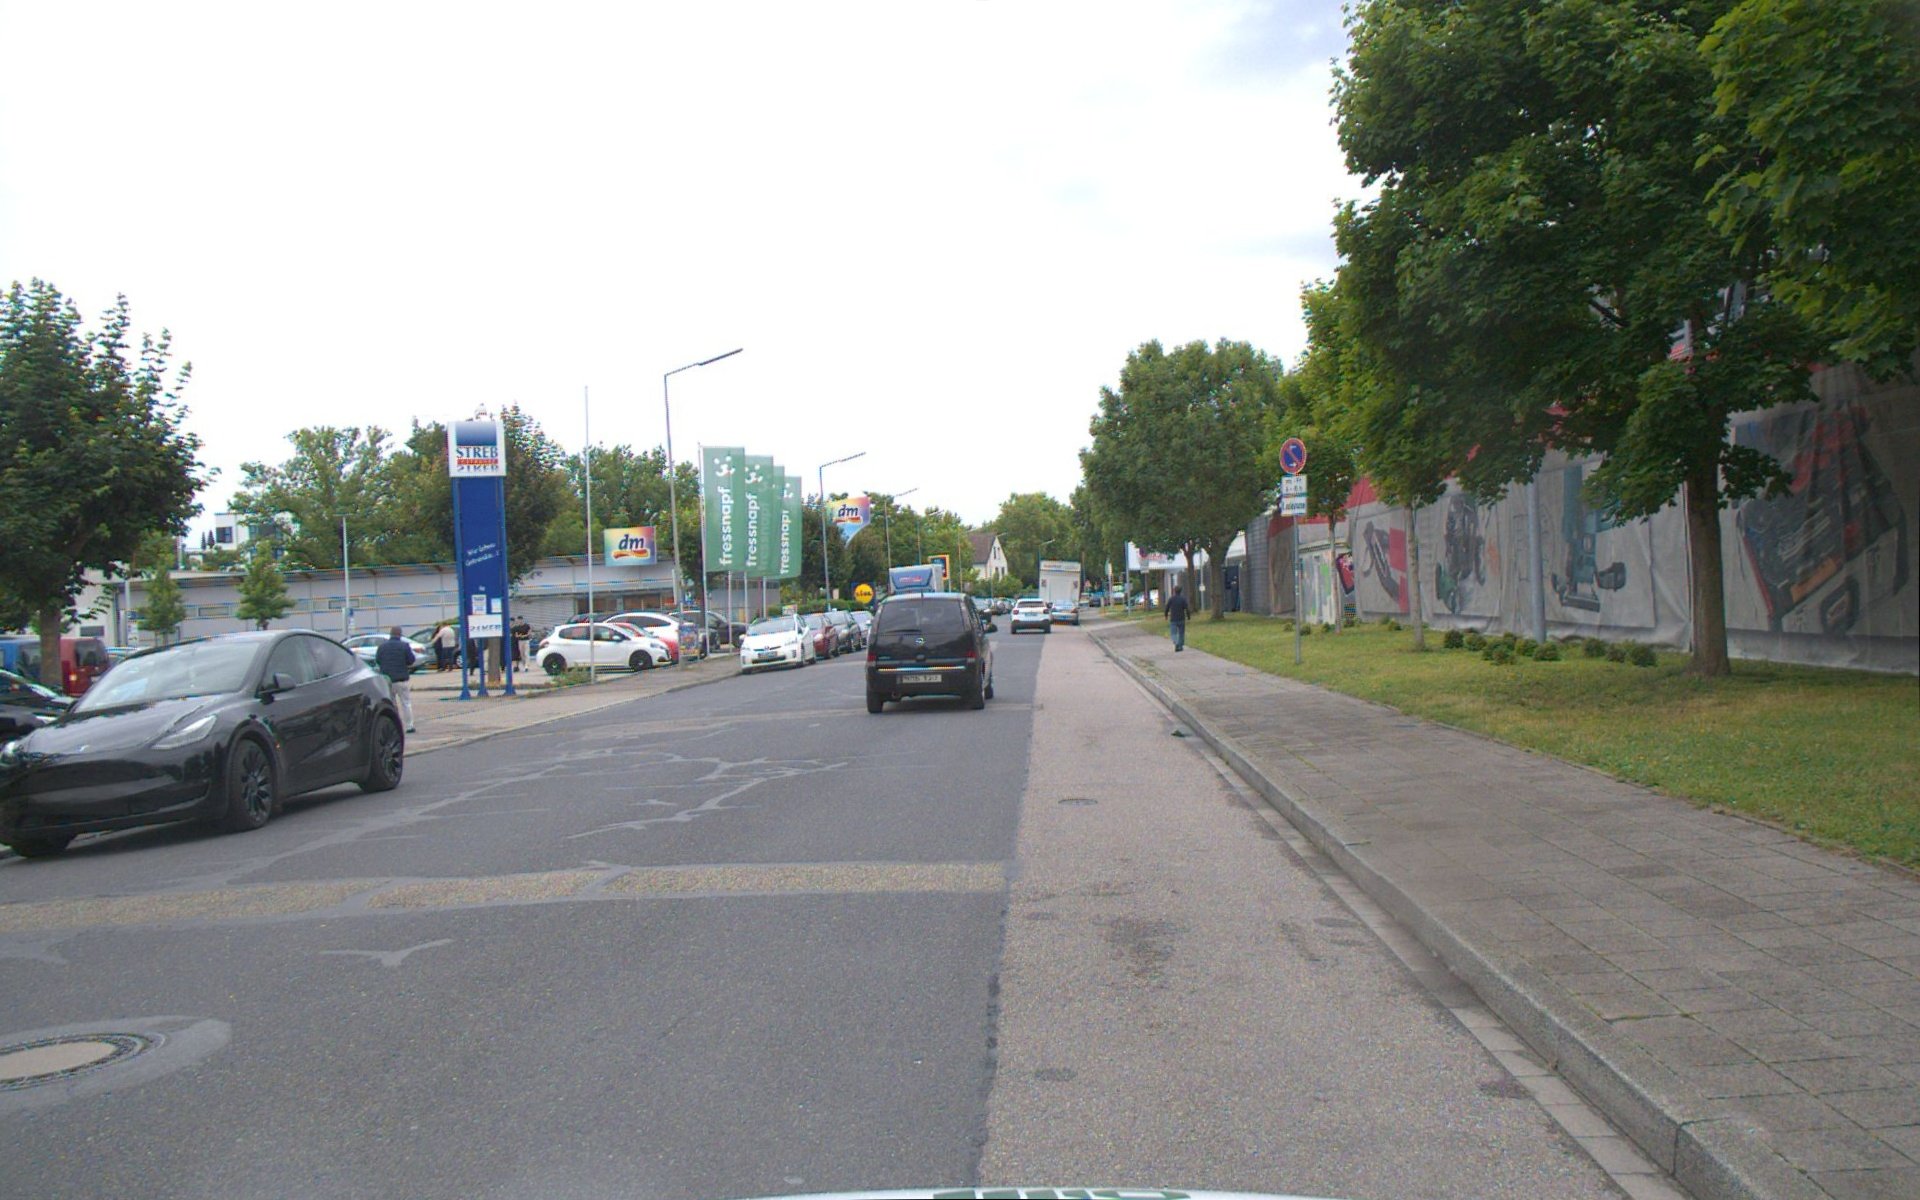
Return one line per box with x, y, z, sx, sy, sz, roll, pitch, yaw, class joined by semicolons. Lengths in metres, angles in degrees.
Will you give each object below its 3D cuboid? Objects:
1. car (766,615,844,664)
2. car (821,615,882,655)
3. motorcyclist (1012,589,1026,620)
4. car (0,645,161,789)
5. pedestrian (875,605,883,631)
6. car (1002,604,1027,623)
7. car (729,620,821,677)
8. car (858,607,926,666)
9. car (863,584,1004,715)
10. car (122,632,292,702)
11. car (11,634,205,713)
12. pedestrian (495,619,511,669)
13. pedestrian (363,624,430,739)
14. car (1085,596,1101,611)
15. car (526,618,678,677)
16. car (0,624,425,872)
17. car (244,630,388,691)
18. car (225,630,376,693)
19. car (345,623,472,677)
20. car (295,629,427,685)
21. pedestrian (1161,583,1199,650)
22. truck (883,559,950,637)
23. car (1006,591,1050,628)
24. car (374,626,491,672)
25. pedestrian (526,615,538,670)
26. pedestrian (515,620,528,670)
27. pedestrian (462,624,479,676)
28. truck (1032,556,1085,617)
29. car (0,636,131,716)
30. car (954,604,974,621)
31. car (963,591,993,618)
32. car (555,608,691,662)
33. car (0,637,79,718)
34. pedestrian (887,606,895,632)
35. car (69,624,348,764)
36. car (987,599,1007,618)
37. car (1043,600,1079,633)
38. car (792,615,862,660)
-4.964;1.253;53.372;1.858;1.391;4.002;-3;0;3;car
-4.226;1.358;64.891;1.858;1.391;4.002;-3;0;3;car
3.094;0.209;86.449;0.612;1.581;0.604;-3;0;5;motorcyclist
-12.474;1.478;20.892;3.792;1.649;1.928;-2;0;3;car
-5.039;1.129;103.015;0.393;1.558;0.485;-3;0;-3;pedestrian
4.446;1.107;133.591;1.897;1.391;4.001;-4;0;3;car
-5.193;1.339;46.844;1.858;1.391;4.002;-3;0;3;car
-1.993;1.060;49.335;1.565;1.554;3.529;-5;-1;4;car
-0.310;0.664;24.128;1.646;1.660;3.761;-3;0;4;car
-21.519;1.913;47.351;3.904;1.698;1.877;-3;0;3;car
-21.649;1.861;42.127;3.904;1.698;1.877;-3;0;3;car
-14.896;1.425;53.905;0.352;1.597;0.503;-3;0;-7;pedestrian
-8.893;1.271;26.120;0.759;1.745;0.697;-2;0;-1;pedestrian
16.096;0.405;200.810;1.847;1.713;4.256;-1;0;4;car
-10.634;1.394;49.380;4.121;1.489;1.951;-3;0;-5;car
-6.403;1.130;14.219;1.907;1.552;4.403;-7;0;2;car
-21.244;1.985;54.631;3.904;1.698;1.877;-3;0;3;car
-20.851;1.936;52.388;3.904;1.698;1.877;-3;0;3;car
-20.294;1.837;60.960;3.904;1.698;1.877;-3;0;3;car
-21.185;2.001;58.584;3.904;1.698;1.877;-3;0;3;car
5.639;0.423;42.463;0.899;1.663;0.853;-2;-1;5;pedestrian
-2.382;-0.125;92.465;2.912;4.024;6.407;-4;0;4;truck
3.068;0.423;73.920;1.847;1.558;4.256;-1;0;4;car
-20.754;1.923;65.161;3.903;1.518;1.787;-3;0;4;car
-13.909;1.367;53.773;0.258;1.760;0.421;-3;0;-9;pedestrian
-14.307;1.465;53.987;0.323;1.597;0.503;-2;0;-8;pedestrian
-15.751;1.604;53.219;0.447;1.670;0.373;-3;0;-14;pedestrian
6.271;-0.780;106.326;3.070;3.647;10.052;-2;-1;2;truck
-22.394;1.855;39.744;3.904;1.698;1.877;-3;0;3;car
0.370;1.070;141.696;1.589;1.399;3.453;-2;-1;2;car
1.259;0.316;113.349;1.952;1.713;4.001;-2;-1;2;car
-11.037;1.126;54.352;4.053;1.488;1.898;-3;0;-2;car
-22.365;1.820;37.324;3.904;1.698;1.877;-3;0;3;car
-4.194;1.135;99.964;0.393;1.558;0.485;-3;0;-3;pedestrian
-12.752;1.561;28.237;3.852;2.048;1.760;-3;0;-4;car
3.558;0.781;159.932;1.831;1.691;4.001;-3;0;1;car
5.916;0.977;97.177;1.952;1.837;4.001;-2;-1;2;car
-4.696;1.305;58.861;1.858;1.391;4.002;-3;0;3;car
